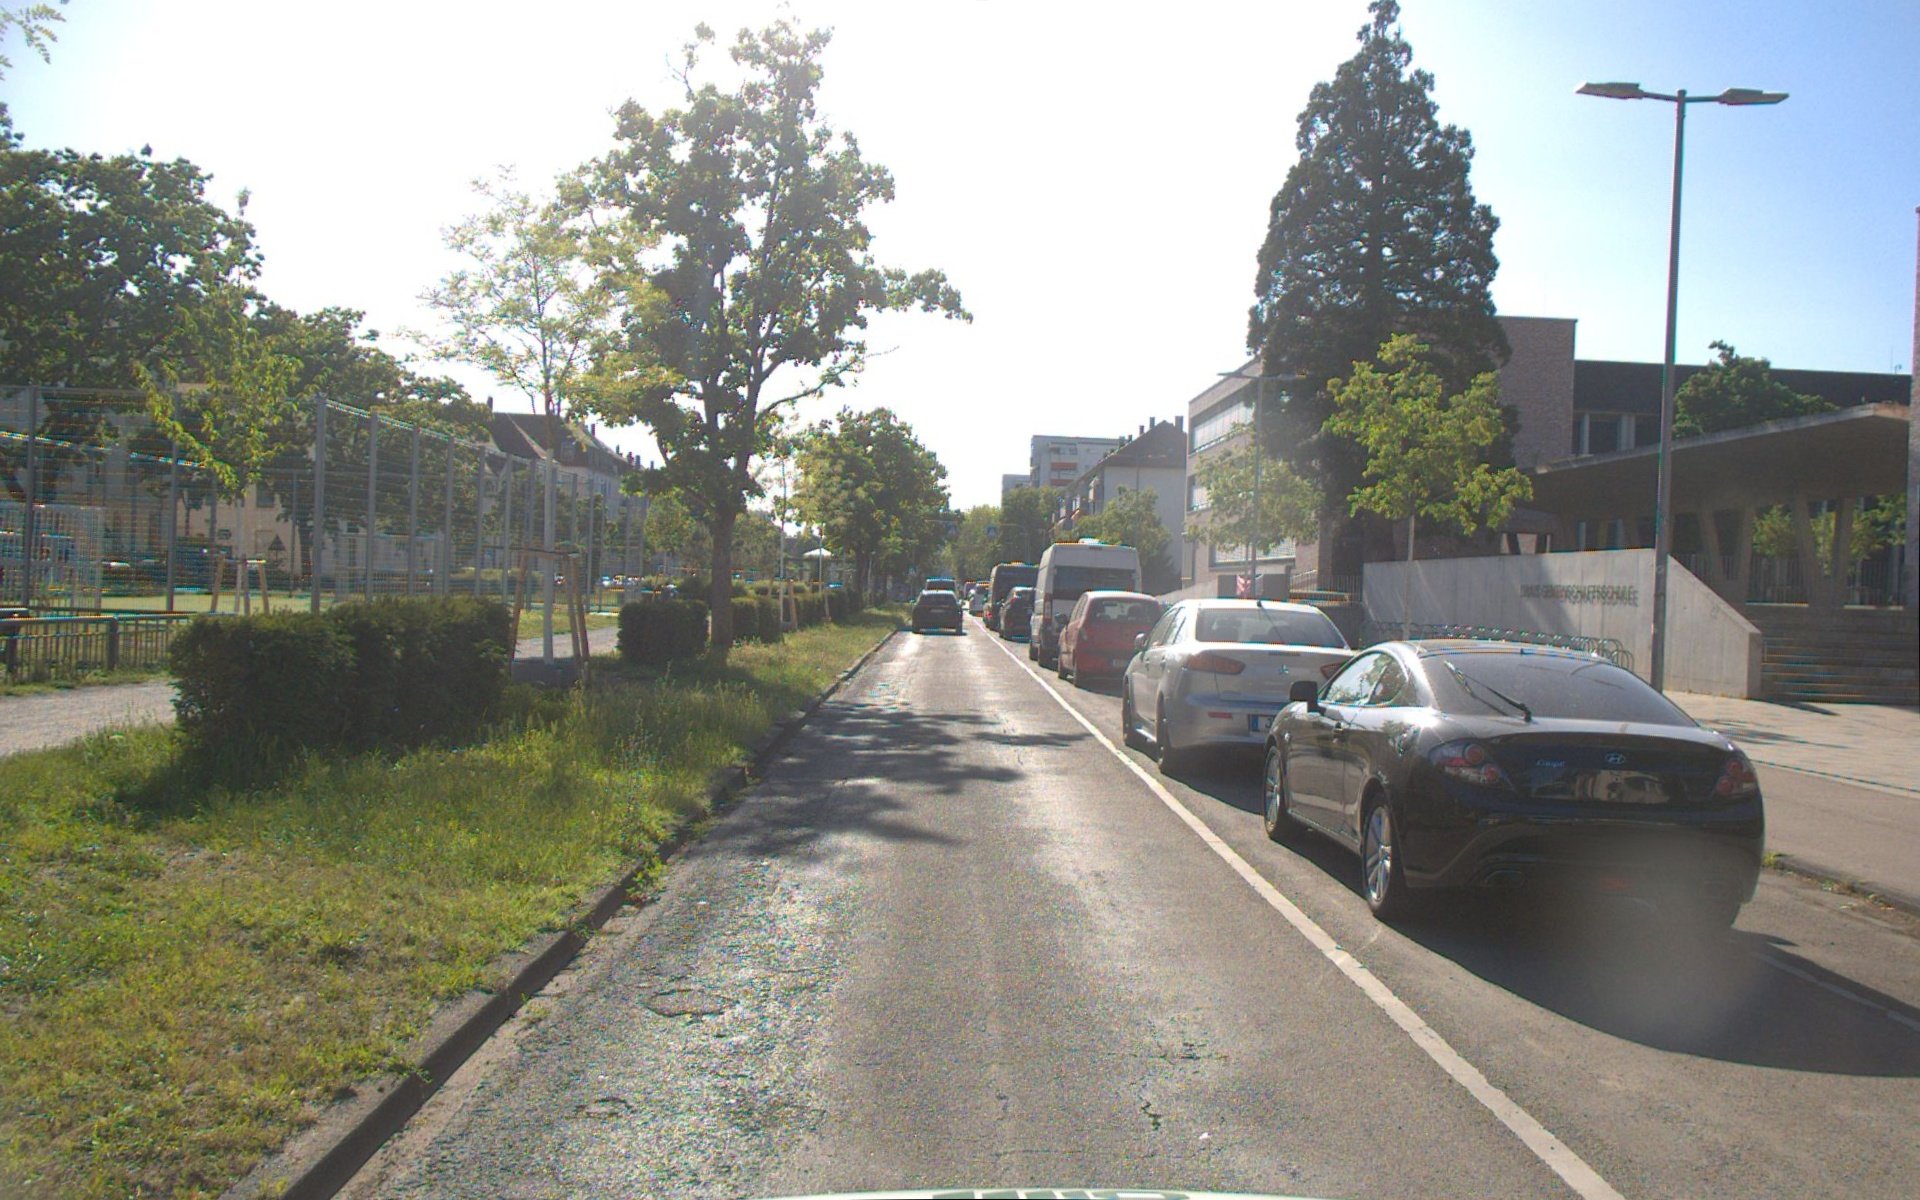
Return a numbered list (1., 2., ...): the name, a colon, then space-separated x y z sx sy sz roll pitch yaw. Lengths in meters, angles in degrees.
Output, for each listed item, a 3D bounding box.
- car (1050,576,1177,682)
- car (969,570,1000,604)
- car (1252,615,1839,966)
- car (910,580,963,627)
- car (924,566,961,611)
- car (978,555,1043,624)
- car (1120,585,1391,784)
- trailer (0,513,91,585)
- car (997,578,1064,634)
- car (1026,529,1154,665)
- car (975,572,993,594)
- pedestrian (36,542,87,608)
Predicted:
1. car: 2.513 0.431 27.835 1.587 1.616 3.590 2 1 -3
2. car: 1.467 -0.794 99.168 1.757 1.887 4.414 2 1 1
3. car: 2.873 0.836 9.138 1.667 1.348 4.129 3 1 -1
4. car: -0.795 0.083 58.094 1.758 1.536 4.000 2 1 0
5. car: -0.860 -0.579 83.538 1.758 2.159 4.000 2 1 0
6. car: 1.940 -0.430 65.448 2.073 2.559 6.529 2 1 -2
7. car: 2.555 0.659 15.260 1.667 1.504 4.173 2 1 -1
8. trailer: -39.860 -2.179 70.783 2.296 2.920 5.801 2 1 -2
9. car: 2.216 0.170 53.196 1.809 1.669 4.503 2 1 -2
10. car: 2.693 -0.080 35.665 2.195 2.619 5.432 2 0 -1
11. car: 2.843 -2.048 197.415 1.953 2.472 4.500 4 1 0
12. pedestrian: -18.515 -0.511 34.093 0.636 1.341 0.649 2 0 28
